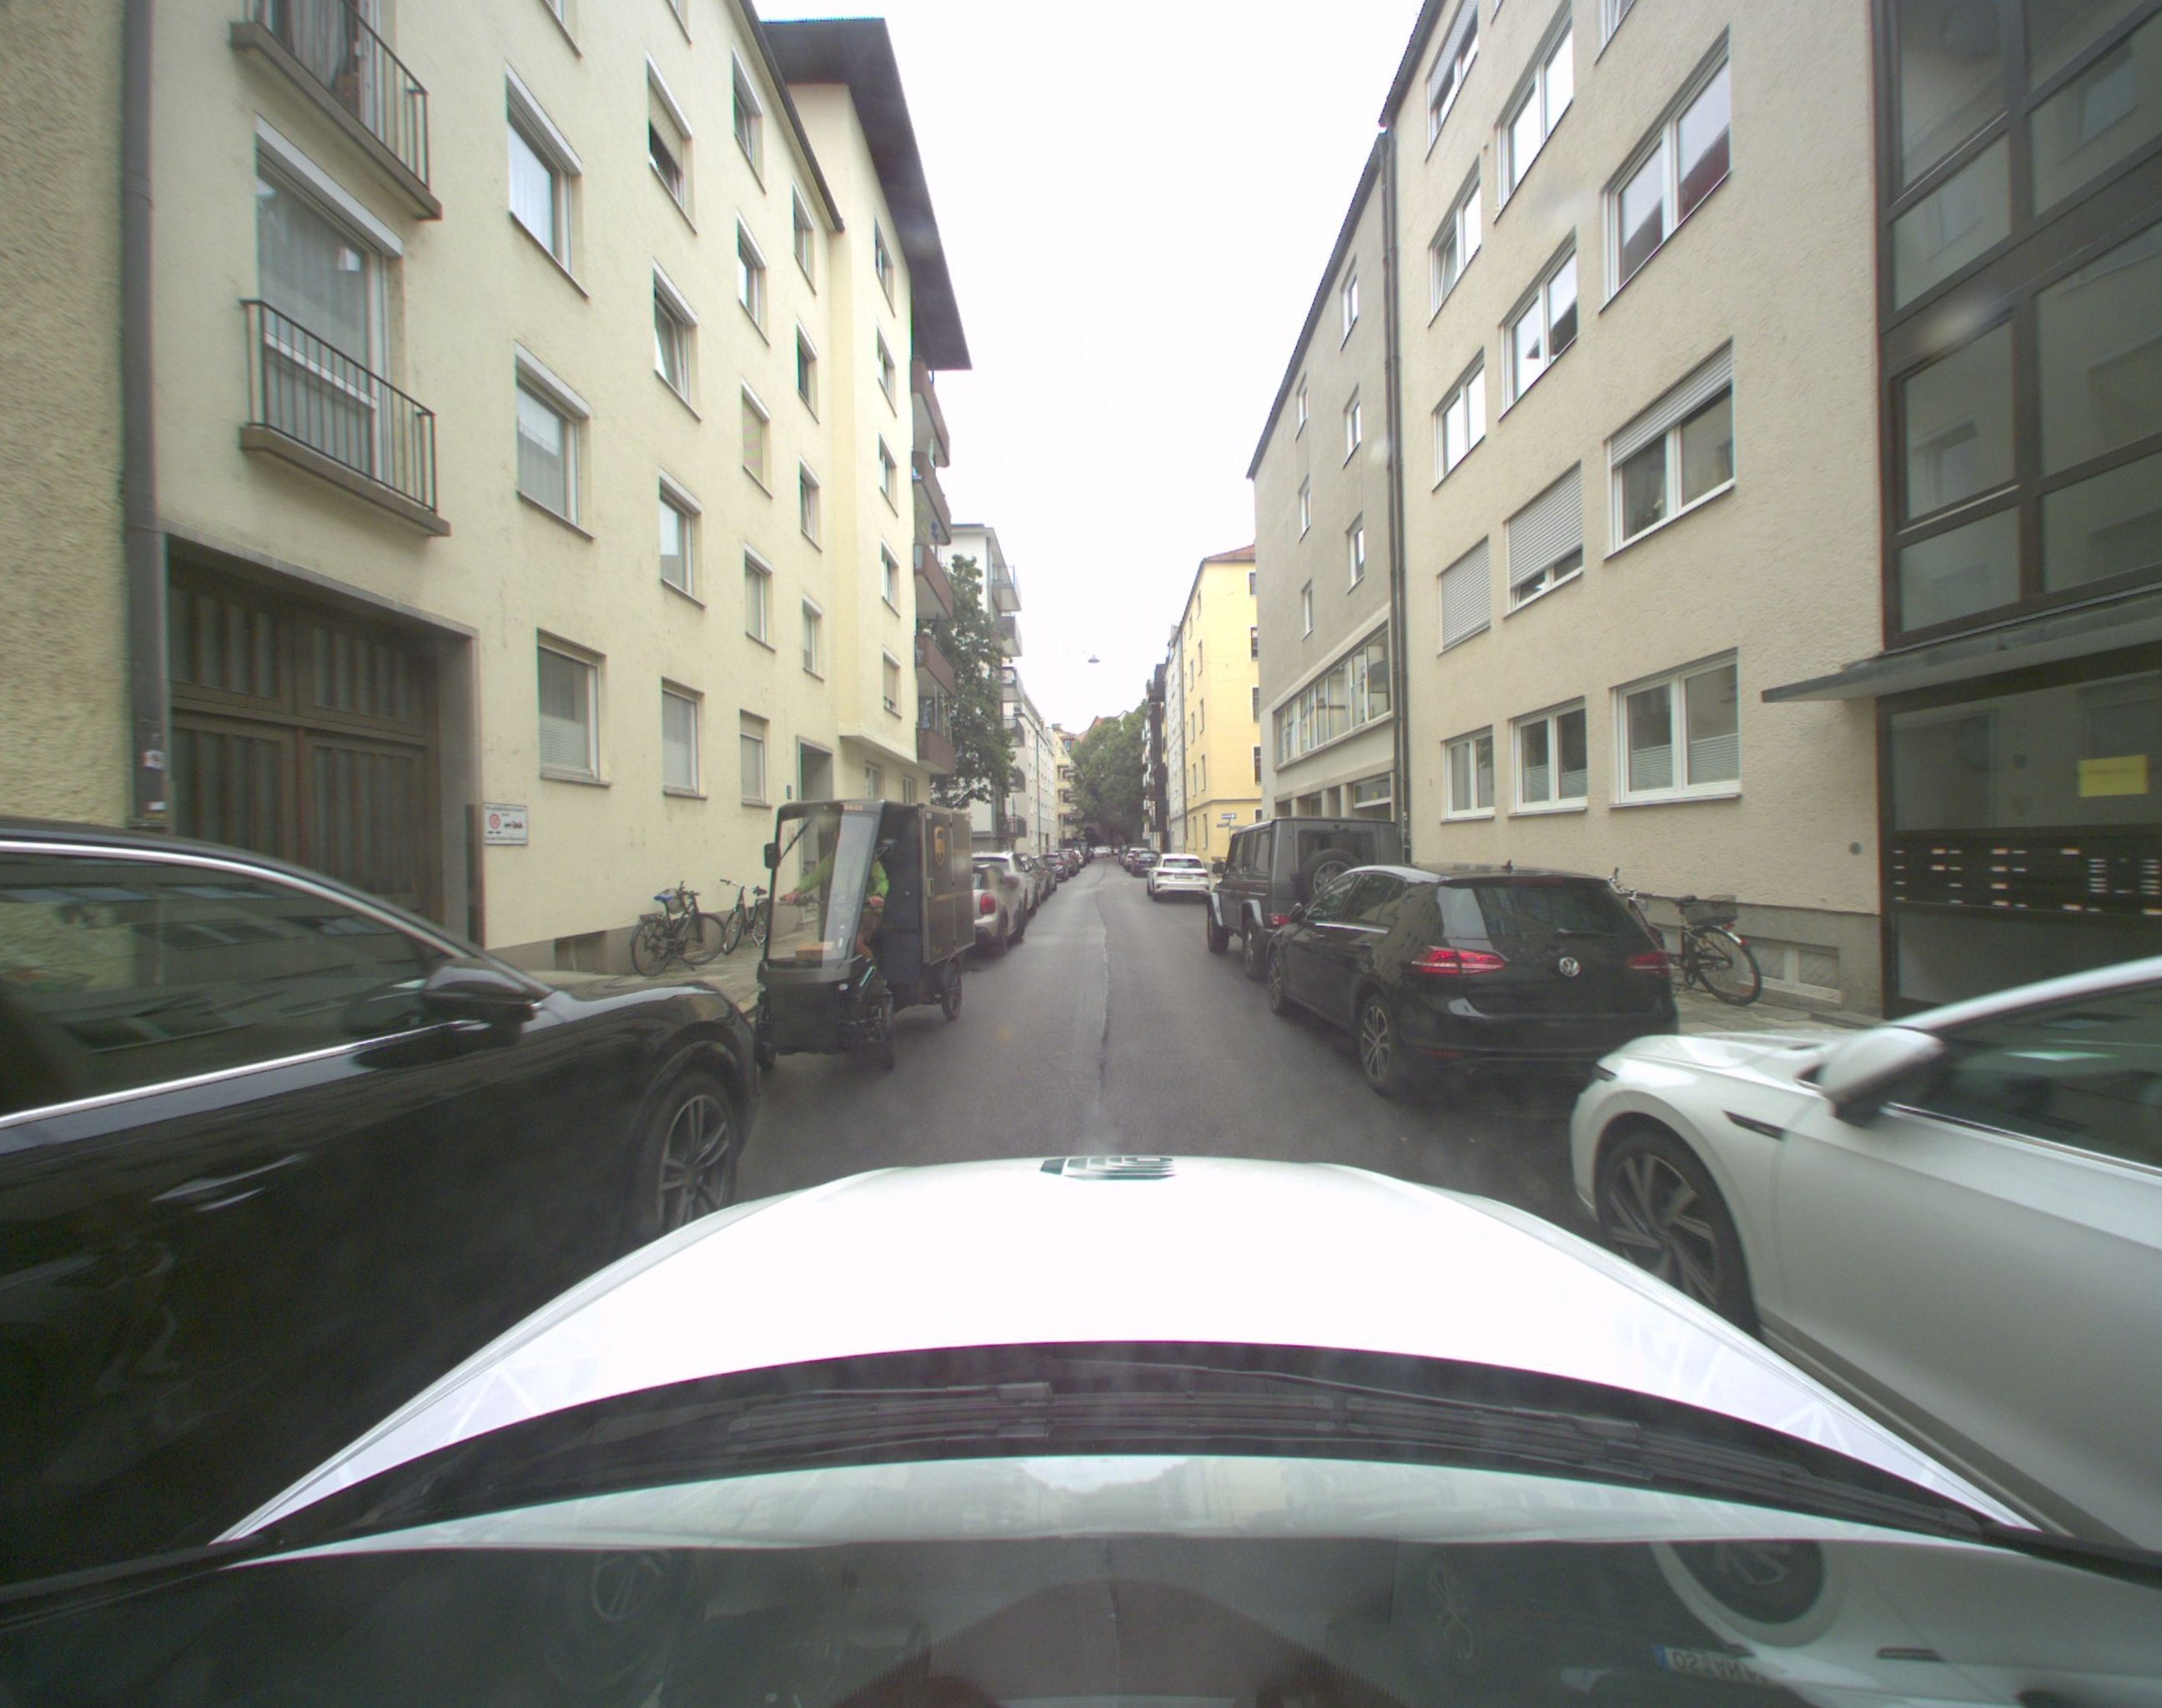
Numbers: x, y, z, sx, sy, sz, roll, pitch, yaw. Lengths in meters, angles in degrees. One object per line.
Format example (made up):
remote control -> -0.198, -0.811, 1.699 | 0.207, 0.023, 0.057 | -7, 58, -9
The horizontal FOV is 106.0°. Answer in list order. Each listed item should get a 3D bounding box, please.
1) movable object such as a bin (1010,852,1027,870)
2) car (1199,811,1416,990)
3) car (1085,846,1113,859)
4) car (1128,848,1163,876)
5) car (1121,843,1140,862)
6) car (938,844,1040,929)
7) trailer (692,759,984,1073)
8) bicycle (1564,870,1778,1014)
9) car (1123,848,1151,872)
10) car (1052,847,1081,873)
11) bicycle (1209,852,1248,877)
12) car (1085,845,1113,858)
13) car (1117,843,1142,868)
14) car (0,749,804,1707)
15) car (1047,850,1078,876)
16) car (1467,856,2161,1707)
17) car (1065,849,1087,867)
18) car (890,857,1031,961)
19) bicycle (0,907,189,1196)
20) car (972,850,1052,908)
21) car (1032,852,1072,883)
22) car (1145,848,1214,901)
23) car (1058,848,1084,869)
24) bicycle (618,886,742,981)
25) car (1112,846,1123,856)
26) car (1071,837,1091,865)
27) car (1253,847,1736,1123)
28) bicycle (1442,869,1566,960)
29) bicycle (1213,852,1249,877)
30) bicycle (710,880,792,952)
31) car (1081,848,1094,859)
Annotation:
movable object such as a bin -> -4.940, 0.542, 64.447 | 1.161, 1.336, 1.026 | -4, 0, 4
car -> 2.850, 0.502, 11.286 | 1.745, 1.975, 4.341 | 1, 1, -1
car -> 2.620, -0.266, 116.550 | 3.873, 1.584, 1.648 | -4, 0, 0
car -> 3.630, 0.397, 46.417 | 1.744, 1.469, 4.344 | 1, 1, 1
car -> 5.484, -0.209, 90.810 | 1.823, 1.999, 4.417 | 2, 0, 1
car -> -1.991, 0.659, 18.867 | 1.760, 1.675, 4.368 | -2, 0, 1
trailer -> -1.854, 0.436, 7.183 | 1.349, 2.116, 3.321 | -1, -1, 4
bicycle -> 5.398, 0.747, 7.610 | 0.652, 1.106, 1.760 | -5, 0, 1
car -> 3.862, 0.369, 56.568 | 1.676, 1.567, 4.416 | 1, 1, 0
car -> -0.937, 0.378, 55.076 | 1.770, 1.629, 4.416 | -2, 0, 1
bicycle -> 7.473, 0.539, 41.278 | 1.802, 1.174, 0.505 | -3, 2, -1
car -> 2.586, -0.329, 118.453 | 3.873, 1.584, 1.648 | -4, 0, 0
car -> 3.789, 0.081, 63.941 | 1.822, 1.910, 4.417 | 0, 1, 2
car -> -2.355, 0.722, 1.577 | 1.871, 1.660, 4.418 | -2, 0, 3
car -> -1.088, 0.500, 49.018 | 1.687, 1.442, 3.977 | -2, 0, 0
car -> 2.591, 0.746, 1.513 | 1.706, 1.486, 4.242 | 0, 0, -1
car -> -0.386, 0.317, 73.319 | 1.770, 1.452, 4.047 | -4, 0, 1
car -> -1.862, 0.805, 13.684 | 1.646, 1.435, 3.804 | -2, 0, 2
bicycle -> -5.286, 0.939, 3.756 | 0.592, 1.279, 1.551 | 1, 0, 0
car -> -1.966, 0.680, 24.525 | 1.758, 1.483, 4.427 | -2, 1, 3
car -> -1.442, 0.657, 41.540 | 1.686, 1.442, 3.944 | -2, 0, 2
car -> 3.092, 0.610, 26.323 | 1.813, 1.408, 3.953 | 0, 3, 1
car -> -0.804, 0.345, 67.928 | 1.770, 1.487, 4.522 | -4, 0, 2
bicycle -> -5.119, 0.974, 10.537 | 0.728, 1.027, 1.813 | 0, 1, -1
car -> 5.978, -0.498, 133.333 | 1.636, 1.383, 3.747 | -4, 0, 1
car -> 0.035, -0.290, 87.948 | 1.930, 2.801, 4.534 | -4, 0, 1
car -> 2.701, 0.715, 6.553 | 1.706, 1.486, 4.242 | 0, 0, -1
bicycle -> 5.530, 0.752, 10.779 | 0.642, 1.028, 1.797 | -5, 0, 1
bicycle -> 7.516, 0.532, 40.742 | 1.707, 1.139, 0.374 | -3, 2, 0
bicycle -> -5.181, 0.942, 12.897 | 0.511, 0.999, 1.860 | 1, 0, 0
car -> 0.843, -0.101, 106.560 | 1.636, 1.383, 3.483 | -4, 0, 1
